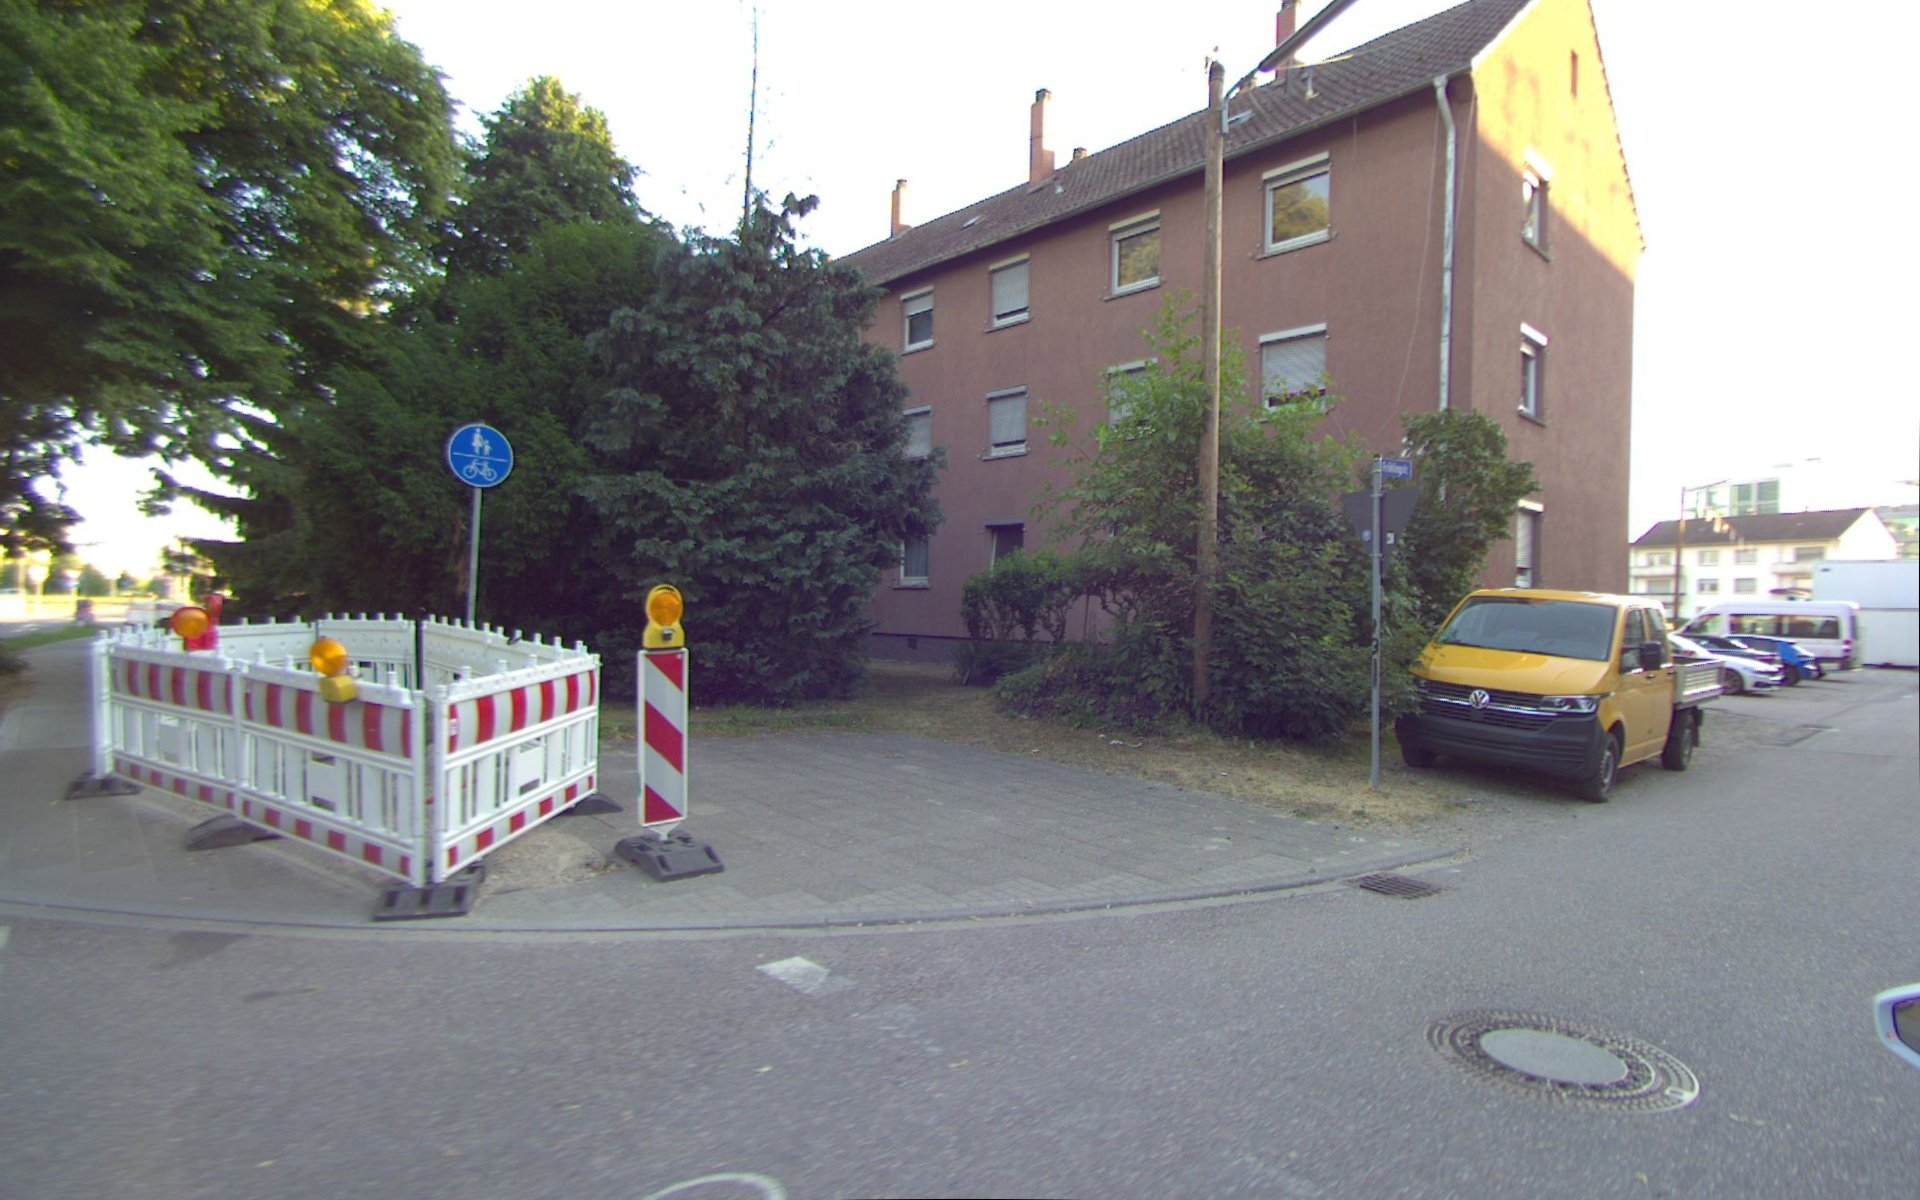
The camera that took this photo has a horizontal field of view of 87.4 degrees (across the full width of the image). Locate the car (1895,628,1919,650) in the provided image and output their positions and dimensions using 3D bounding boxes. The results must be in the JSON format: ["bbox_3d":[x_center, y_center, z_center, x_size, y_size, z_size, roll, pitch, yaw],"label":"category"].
[{"bbox_3d":[84.799,3.433,87.753,4.454,1.893,1.989,0,-1,42],"label":"car"}]

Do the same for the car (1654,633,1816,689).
[{"bbox_3d":[23.999,1.851,31.183,1.717,1.448,3.798,2,0,-45],"label":"car"}]

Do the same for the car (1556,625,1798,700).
[{"bbox_3d":[19.306,1.613,27.244,2.099,1.565,4.950,2,1,-40],"label":"car"}]

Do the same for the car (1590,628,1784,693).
[{"bbox_3d":[21.094,1.705,29.260,4.370,1.565,1.717,2,0,44],"label":"car"}]

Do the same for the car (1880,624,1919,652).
[{"bbox_3d":[94.171,3.773,98.074,1.985,2.686,6.271,1,-1,-42],"label":"car"}]

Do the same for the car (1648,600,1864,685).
[{"bbox_3d":[28.022,1.423,35.545,2.204,2.661,5.639,2,0,-41],"label":"car"}]

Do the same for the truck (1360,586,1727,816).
[{"bbox_3d":[6.746,0.939,11.240,5.622,1.938,2.015,2,0,-43],"label":"truck"}]

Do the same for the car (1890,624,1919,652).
[{"bbox_3d":[97.124,3.823,100.193,1.985,2.777,6.271,1,-1,-42],"label":"car"}]
